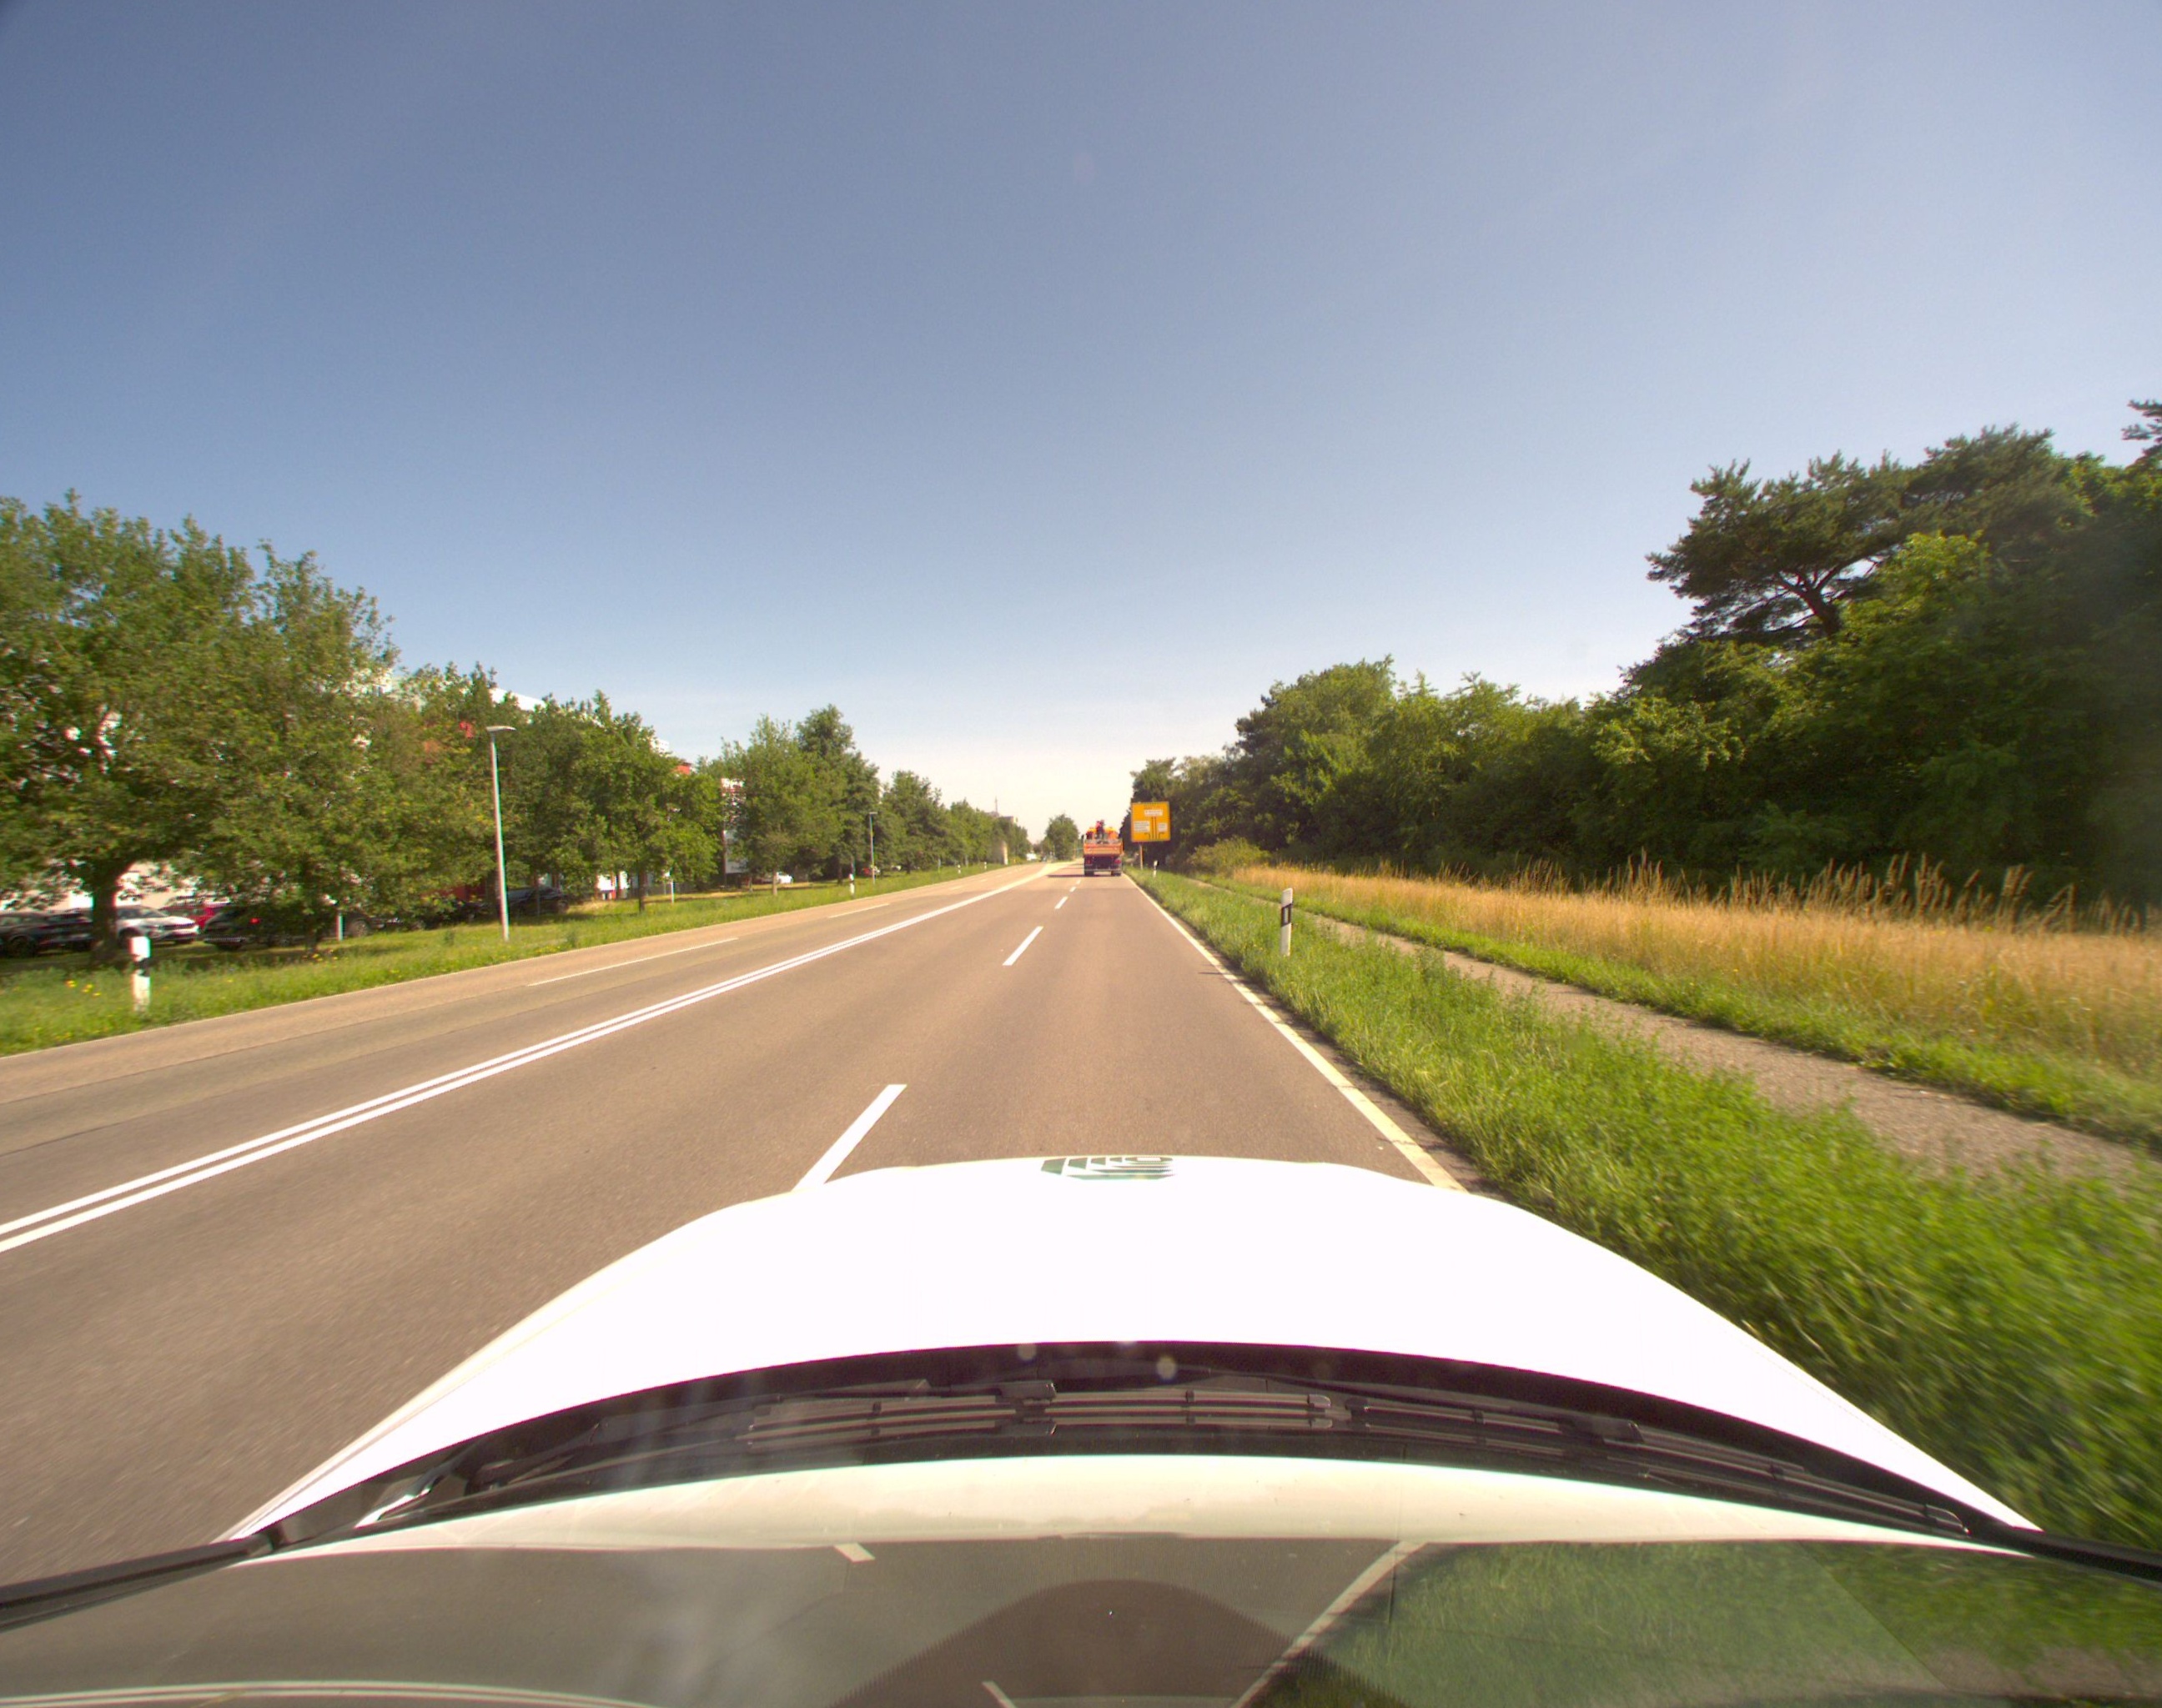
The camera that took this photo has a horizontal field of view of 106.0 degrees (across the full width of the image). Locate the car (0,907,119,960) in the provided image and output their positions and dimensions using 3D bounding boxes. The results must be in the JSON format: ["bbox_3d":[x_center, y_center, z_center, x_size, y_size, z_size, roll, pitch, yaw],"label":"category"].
[{"bbox_3d":[-35.712,2.711,27.564,3.974,1.536,1.888,-3,0,0],"label":"car"}]

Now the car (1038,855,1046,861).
[{"bbox_3d":[-10.936,1.047,228.503,1.794,1.572,4.001,-3,0,1],"label":"car"}]

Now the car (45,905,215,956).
[{"bbox_3d":[-34.937,2.794,30.004,3.974,1.536,1.888,-3,0,0],"label":"car"}]

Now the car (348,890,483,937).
[{"bbox_3d":[-27.567,2.417,33.945,1.737,1.578,4.550,-2,0,1],"label":"car"}]

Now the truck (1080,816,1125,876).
[{"bbox_3d":[1.392,-0.550,56.542,2.863,3.880,7.397,0,0,-1],"label":"truck"}]

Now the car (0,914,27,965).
[{"bbox_3d":[-35.385,2.746,24.807,3.974,1.536,1.888,-3,0,0],"label":"car"}]

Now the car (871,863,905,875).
[{"bbox_3d":[-29.181,2.288,123.058,4.579,1.650,2.000,-2,0,1],"label":"car"}]

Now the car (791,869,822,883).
[{"bbox_3d":[-32.615,2.574,96.952,1.986,1.437,4.611,-2,0,1],"label":"car"}]

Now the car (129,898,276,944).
[{"bbox_3d":[-35.434,2.694,32.932,3.974,1.536,1.742,-3,0,0],"label":"car"}]

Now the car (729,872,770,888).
[{"bbox_3d":[-35.098,2.730,86.423,1.985,1.437,4.958,-2,0,3],"label":"car"}]

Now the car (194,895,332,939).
[{"bbox_3d":[-35.325,2.715,35.256,4.122,1.585,1.742,-3,0,0],"label":"car"}]

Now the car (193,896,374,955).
[{"bbox_3d":[-27.635,2.432,28.478,1.737,1.578,4.550,-2,0,1],"label":"car"}]

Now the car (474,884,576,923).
[{"bbox_3d":[-27.349,2.402,40.274,1.737,1.578,4.550,-2,0,1],"label":"car"}]

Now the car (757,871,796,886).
[{"bbox_3d":[-32.489,2.605,86.983,1.985,1.437,4.958,-2,0,3],"label":"car"}]
